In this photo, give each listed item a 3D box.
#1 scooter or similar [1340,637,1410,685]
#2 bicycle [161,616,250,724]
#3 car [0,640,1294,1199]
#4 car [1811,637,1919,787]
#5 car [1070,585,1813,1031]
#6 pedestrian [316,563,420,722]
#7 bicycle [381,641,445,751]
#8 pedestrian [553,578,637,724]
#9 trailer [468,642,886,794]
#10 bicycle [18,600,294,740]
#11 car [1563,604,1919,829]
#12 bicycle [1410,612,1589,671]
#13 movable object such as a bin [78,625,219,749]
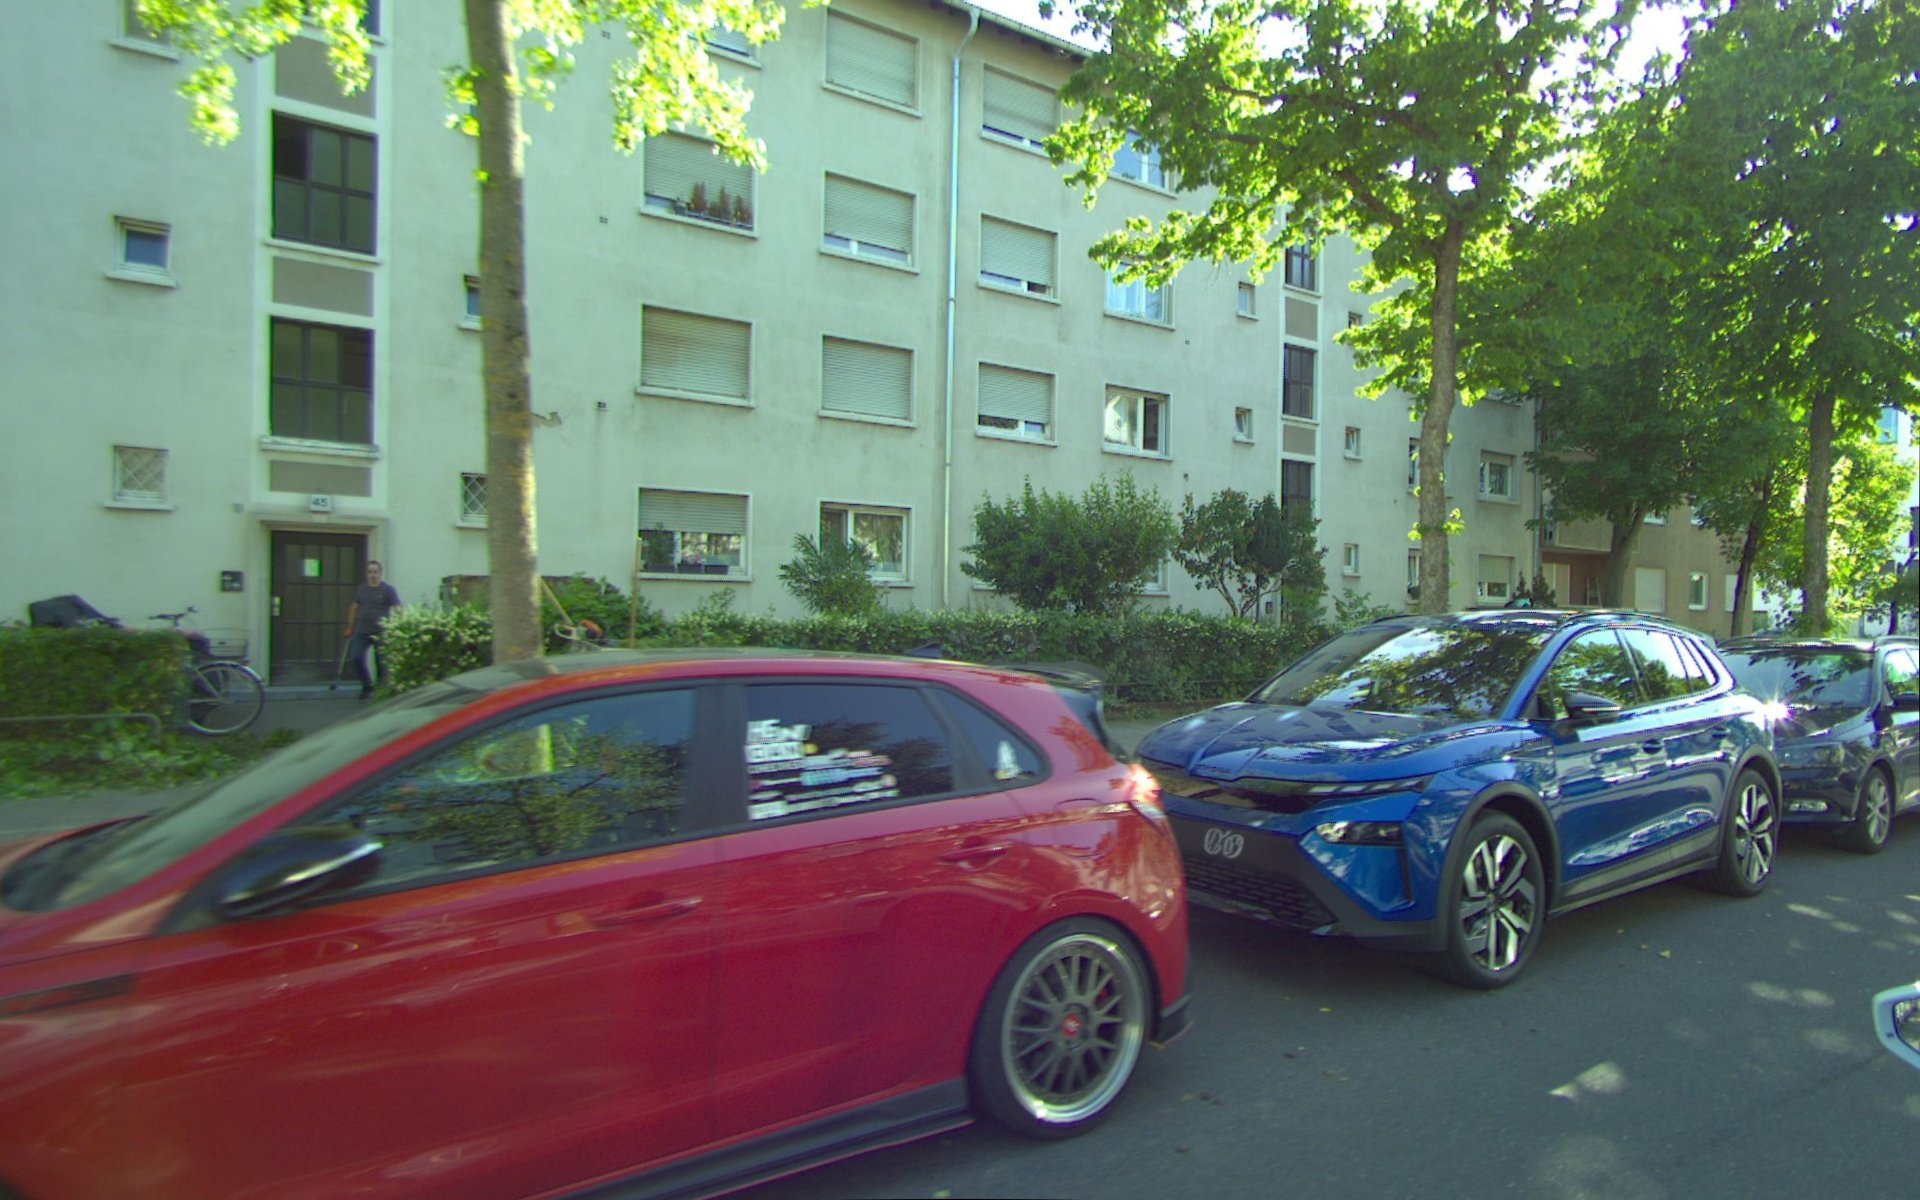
[{"bbox_3d":[9.381,1.362,22.706,1.395,1.003,0.779,1,0,-32],"label":"scooter or similar"},{"bbox_3d":[-8.506,0.747,11.374,0.581,1.092,1.735,1,0,-30],"label":"bicycle"},{"bbox_3d":[-1.124,0.823,3.059,4.214,1.397,1.771,1,-3,-31],"label":"car"},{"bbox_3d":[11.039,1.135,10.839,3.866,1.462,1.752,1,-3,-32],"label":"car"},{"bbox_3d":[2.871,0.833,5.614,4.420,1.587,1.778,1,-4,-35],"label":"car"},{"bbox_3d":[-7.462,0.523,12.719,1.012,1.913,0.930,1,-1,-25],"label":"pedestrian"},{"bbox_3d":[-5.593,0.927,10.236,0.508,0.929,1.939,1,0,-30],"label":"bicycle"},{"bbox_3d":[-4.999,0.687,13.805,0.862,1.939,0.783,1,-1,-4],"label":"pedestrian"},{"bbox_3d":[-2.494,0.922,8.884,3.242,1.047,1.781,1,-1,-30],"label":"trailer"},{"bbox_3d":[-7.833,0.654,9.954,1.955,1.247,1.089,1,-1,-30],"label":"bicycle"},{"bbox_3d":[7.091,0.825,8.457,4.076,1.472,1.820,1,-2,-32],"label":"car"},{"bbox_3d":[11.111,0.848,20.758,3.172,1.151,0.916,1,-1,3],"label":"bicycle"},{"bbox_3d":[-7.352,0.761,9.147,0.833,1.047,0.879,1,-1,-29],"label":"movable object such as a bin"}]
